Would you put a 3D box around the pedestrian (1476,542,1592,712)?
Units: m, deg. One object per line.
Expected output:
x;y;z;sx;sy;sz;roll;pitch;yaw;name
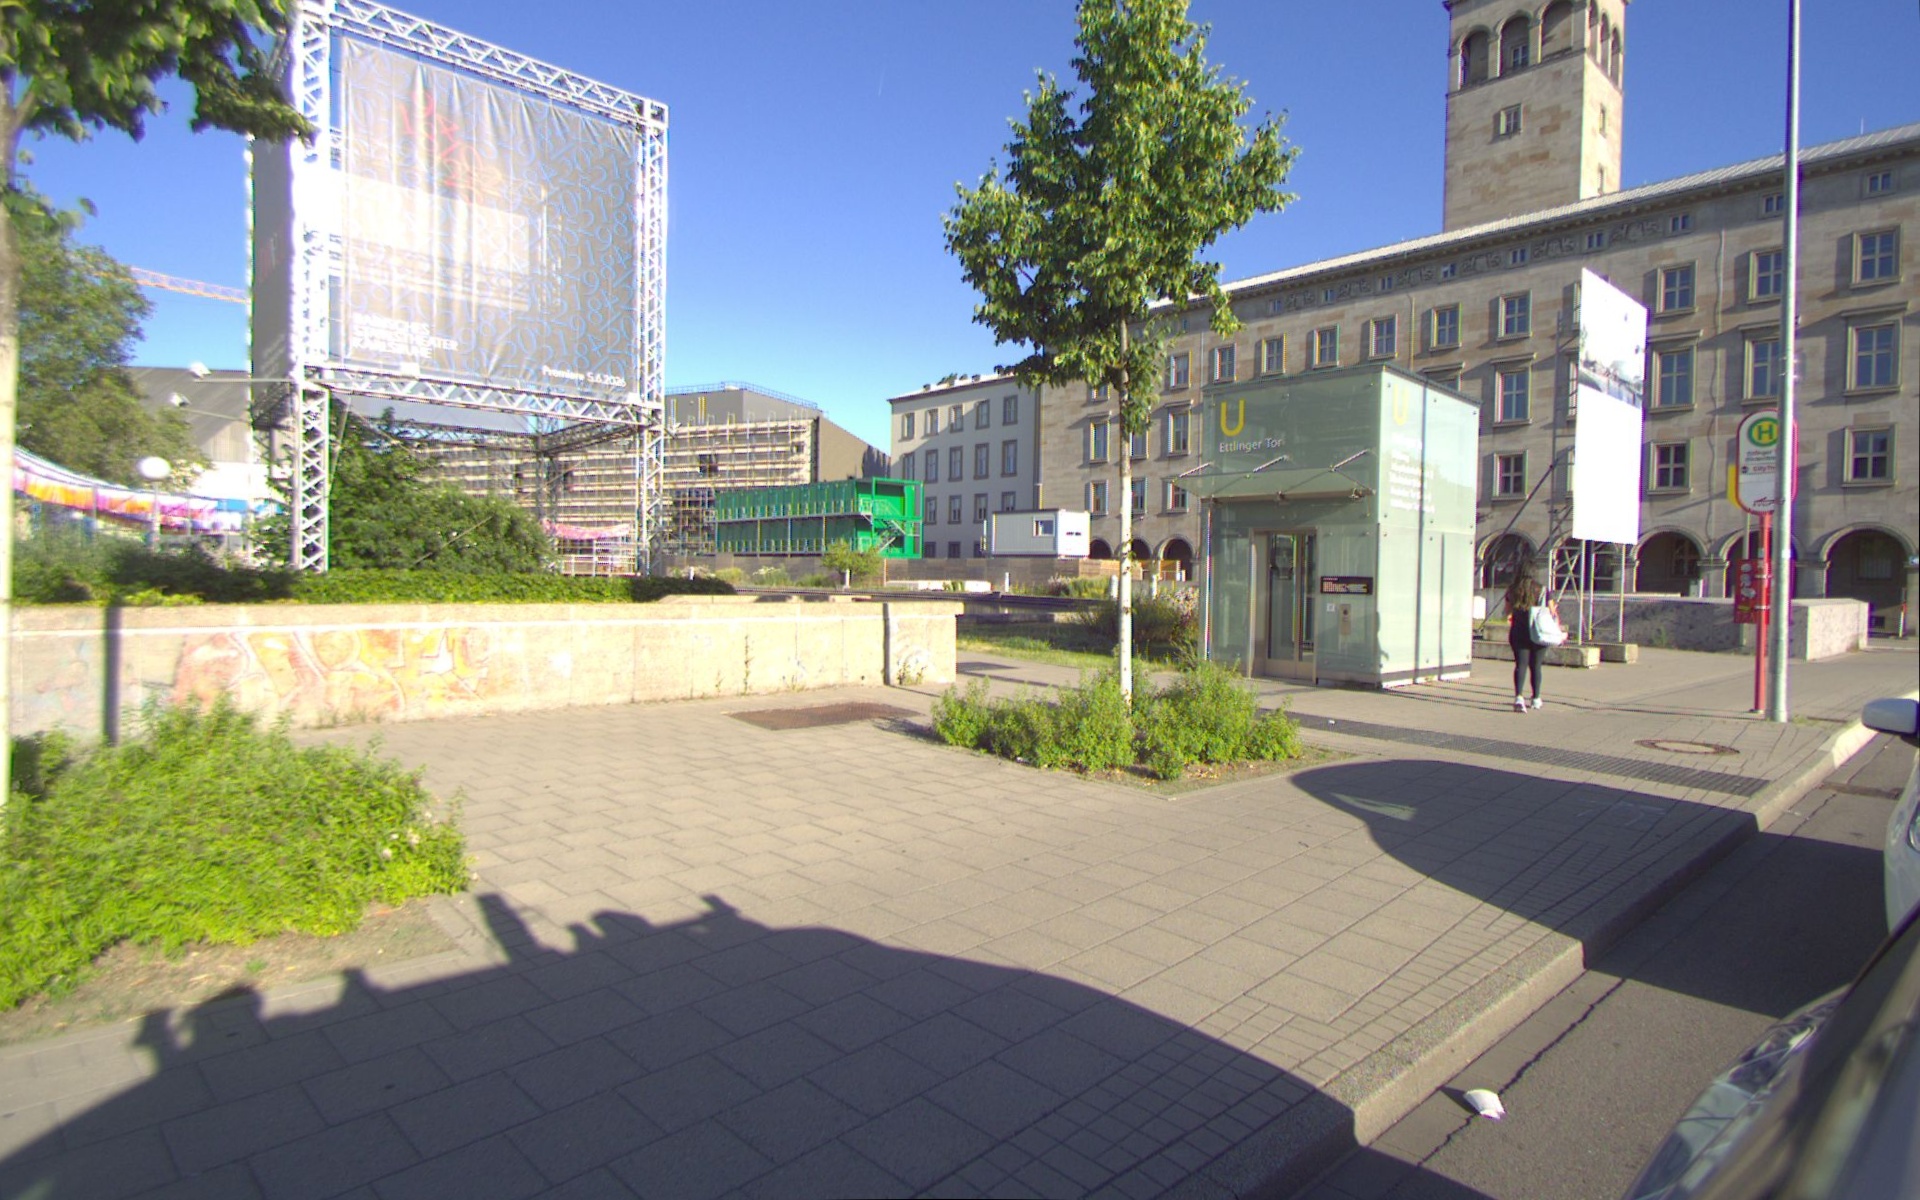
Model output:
6.565;0.275;11.569;0.938;1.808;1.058;4;2;38;pedestrian

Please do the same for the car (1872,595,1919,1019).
5.201;0.716;4.281;3.823;1.467;1.676;0;0;-43;car
